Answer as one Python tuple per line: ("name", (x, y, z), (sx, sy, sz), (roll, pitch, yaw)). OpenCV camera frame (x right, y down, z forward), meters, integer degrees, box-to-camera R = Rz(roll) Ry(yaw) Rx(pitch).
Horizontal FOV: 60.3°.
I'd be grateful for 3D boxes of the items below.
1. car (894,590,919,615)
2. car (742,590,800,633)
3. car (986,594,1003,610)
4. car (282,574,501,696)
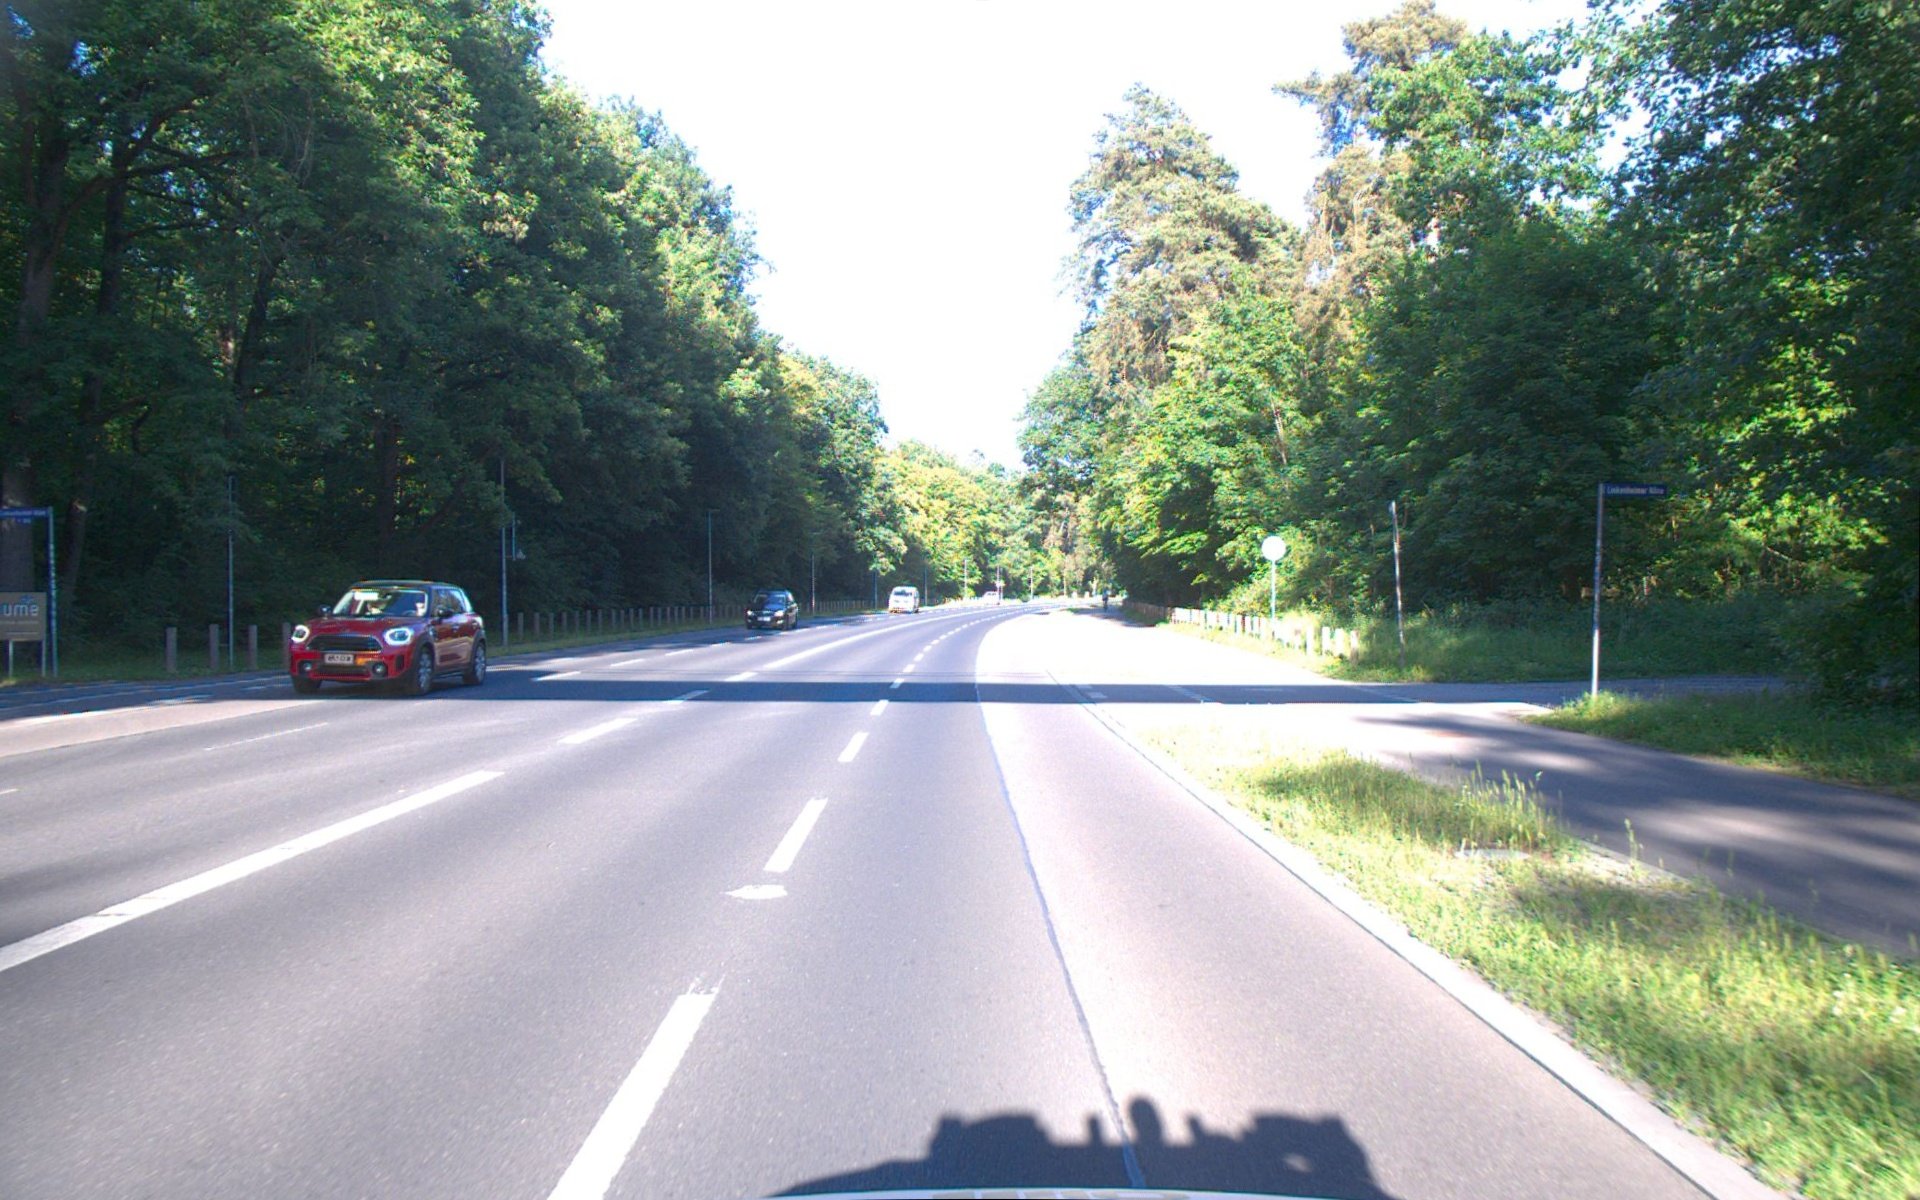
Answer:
("car", (-3.794, 0.181, 117.541), (1.670, 1.739, 4.000), (0, 0, 0))
("car", (-7.410, 0.424, 65.106), (1.687, 1.601, 4.178), (2, 0, 1))
("car", (4.024, 0.219, 191.478), (1.746, 1.739, 4.002), (0, 0, 5))
("car", (-8.202, 0.457, 24.258), (1.725, 1.610, 4.168), (1, 0, 0))
